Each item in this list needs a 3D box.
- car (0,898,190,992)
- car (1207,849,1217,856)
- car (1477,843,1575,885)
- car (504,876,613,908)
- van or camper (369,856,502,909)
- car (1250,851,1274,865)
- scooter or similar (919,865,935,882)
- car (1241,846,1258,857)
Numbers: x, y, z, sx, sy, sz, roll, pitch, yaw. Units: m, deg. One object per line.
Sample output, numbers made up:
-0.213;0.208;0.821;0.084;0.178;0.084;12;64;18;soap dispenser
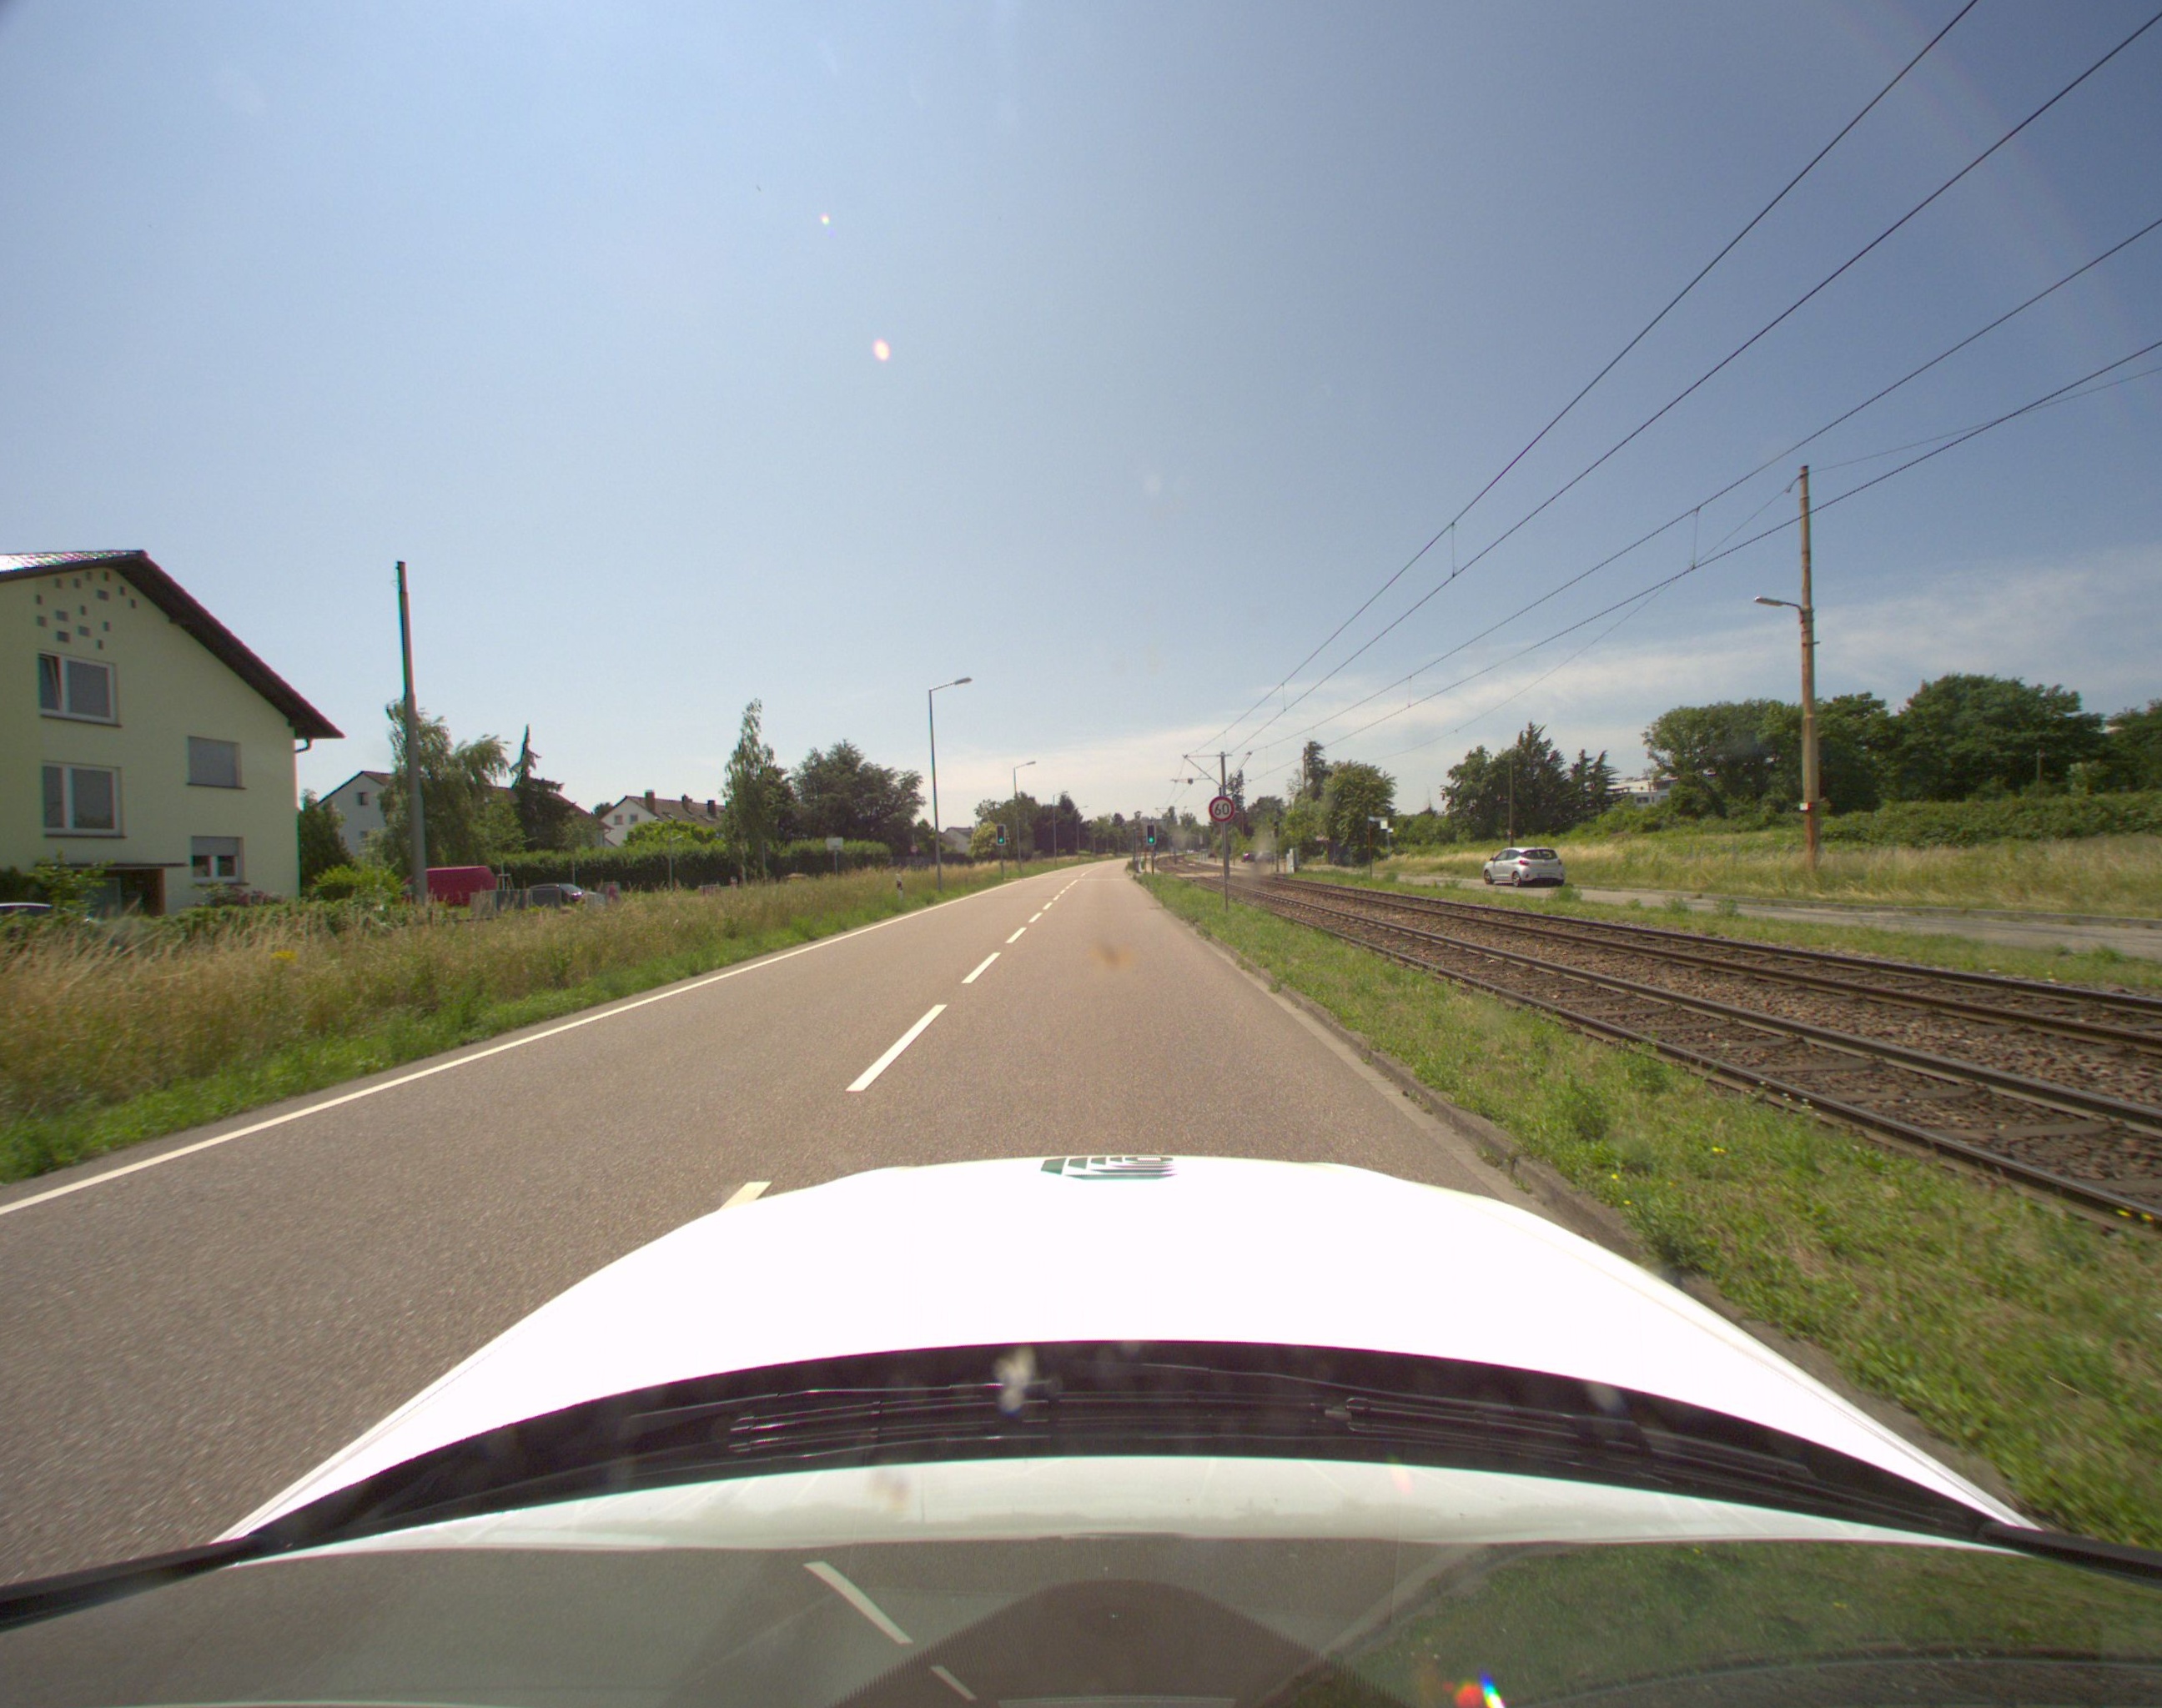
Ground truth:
-19.733;1.679;15.119;1.700;1.491;4.187;-1;0;1;car
28.064;-0.279;174.803;1.852;1.330;4.522;-1;0;5;car
17.108;0.369;31.537;1.706;1.488;4.004;-1;0;2;car
-25.646;1.852;40.073;3.977;1.354;1.998;-1;0;-3;car
-31.304;1.365;39.628;4.742;2.388;1.998;-1;0;-3;van or camper
19.290;0.453;86.903;1.931;1.422;4.004;-1;0;4;car
-10.817;1.355;57.311;1.017;1.128;0.647;-2;0;-8;scooter or similar
21.826;-0.332;105.648;1.612;1.422;4.879;-1;0;5;car
